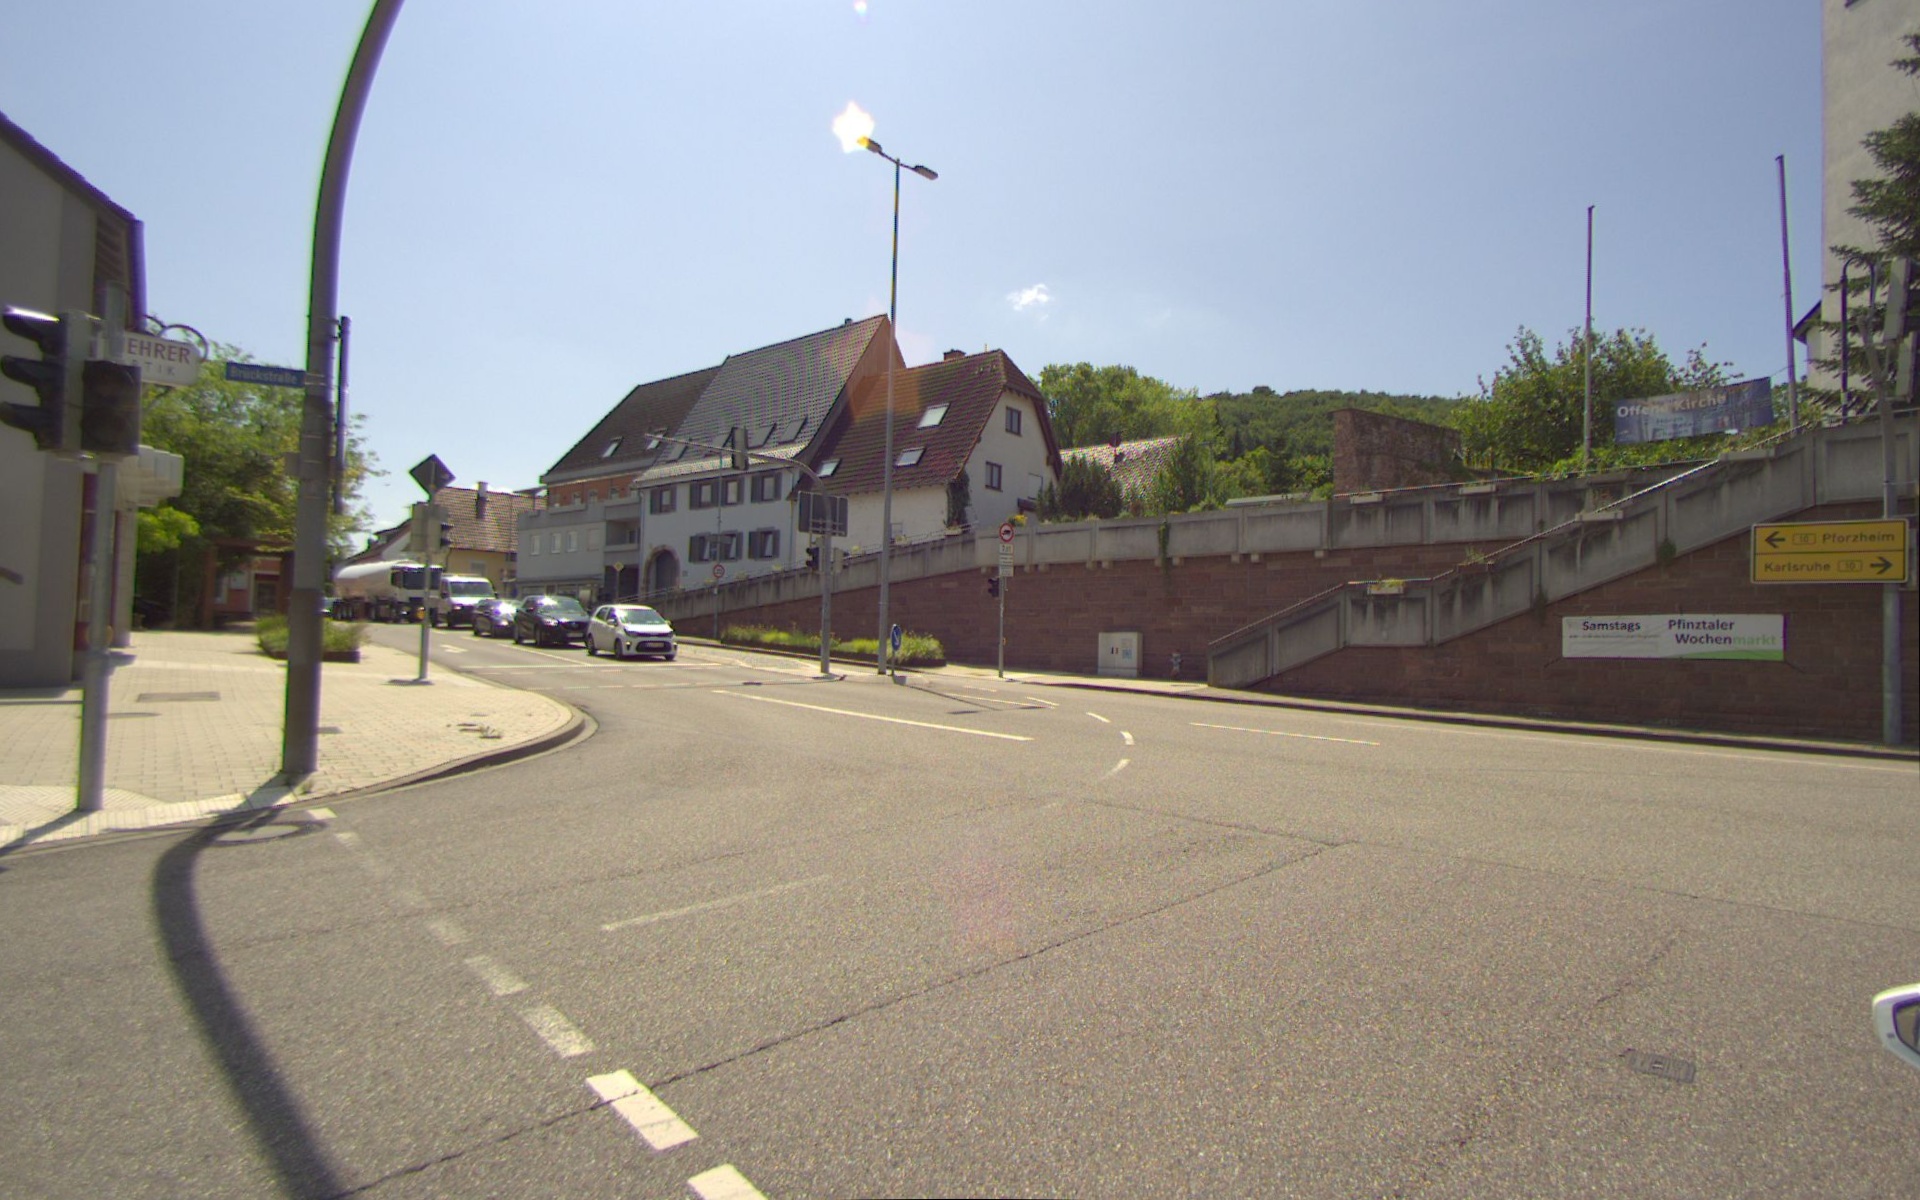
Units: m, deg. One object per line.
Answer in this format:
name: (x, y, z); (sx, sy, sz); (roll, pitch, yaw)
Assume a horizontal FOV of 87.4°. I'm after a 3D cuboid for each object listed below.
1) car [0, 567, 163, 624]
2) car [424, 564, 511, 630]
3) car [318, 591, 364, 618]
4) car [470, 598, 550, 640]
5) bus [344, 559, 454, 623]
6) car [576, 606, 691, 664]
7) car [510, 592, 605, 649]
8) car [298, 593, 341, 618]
car: (-28.618, -0.099, 32.775); (3.963, 1.700, 1.979); (2, -1, -37)
car: (-22.904, -0.141, 46.580); (2.285, 2.859, 6.433); (1, 0, -38)
car: (-41.464, 0.308, 67.215); (1.985, 1.658, 3.951); (2, 0, -41)
car: (-17.341, 0.716, 38.630); (1.849, 1.499, 3.954); (2, 0, -39)
bus: (-31.636, -0.507, 56.267); (2.529, 3.211, 12.491); (2, 0, -43)
car: (-9.452, 0.959, 28.910); (1.849, 1.499, 3.954); (2, 0, -39)
car: (-13.436, 0.643, 33.408); (1.848, 1.737, 3.955); (2, 0, -38)
car: (-46.193, 0.400, 72.456); (1.985, 1.658, 3.951); (2, 0, -42)
